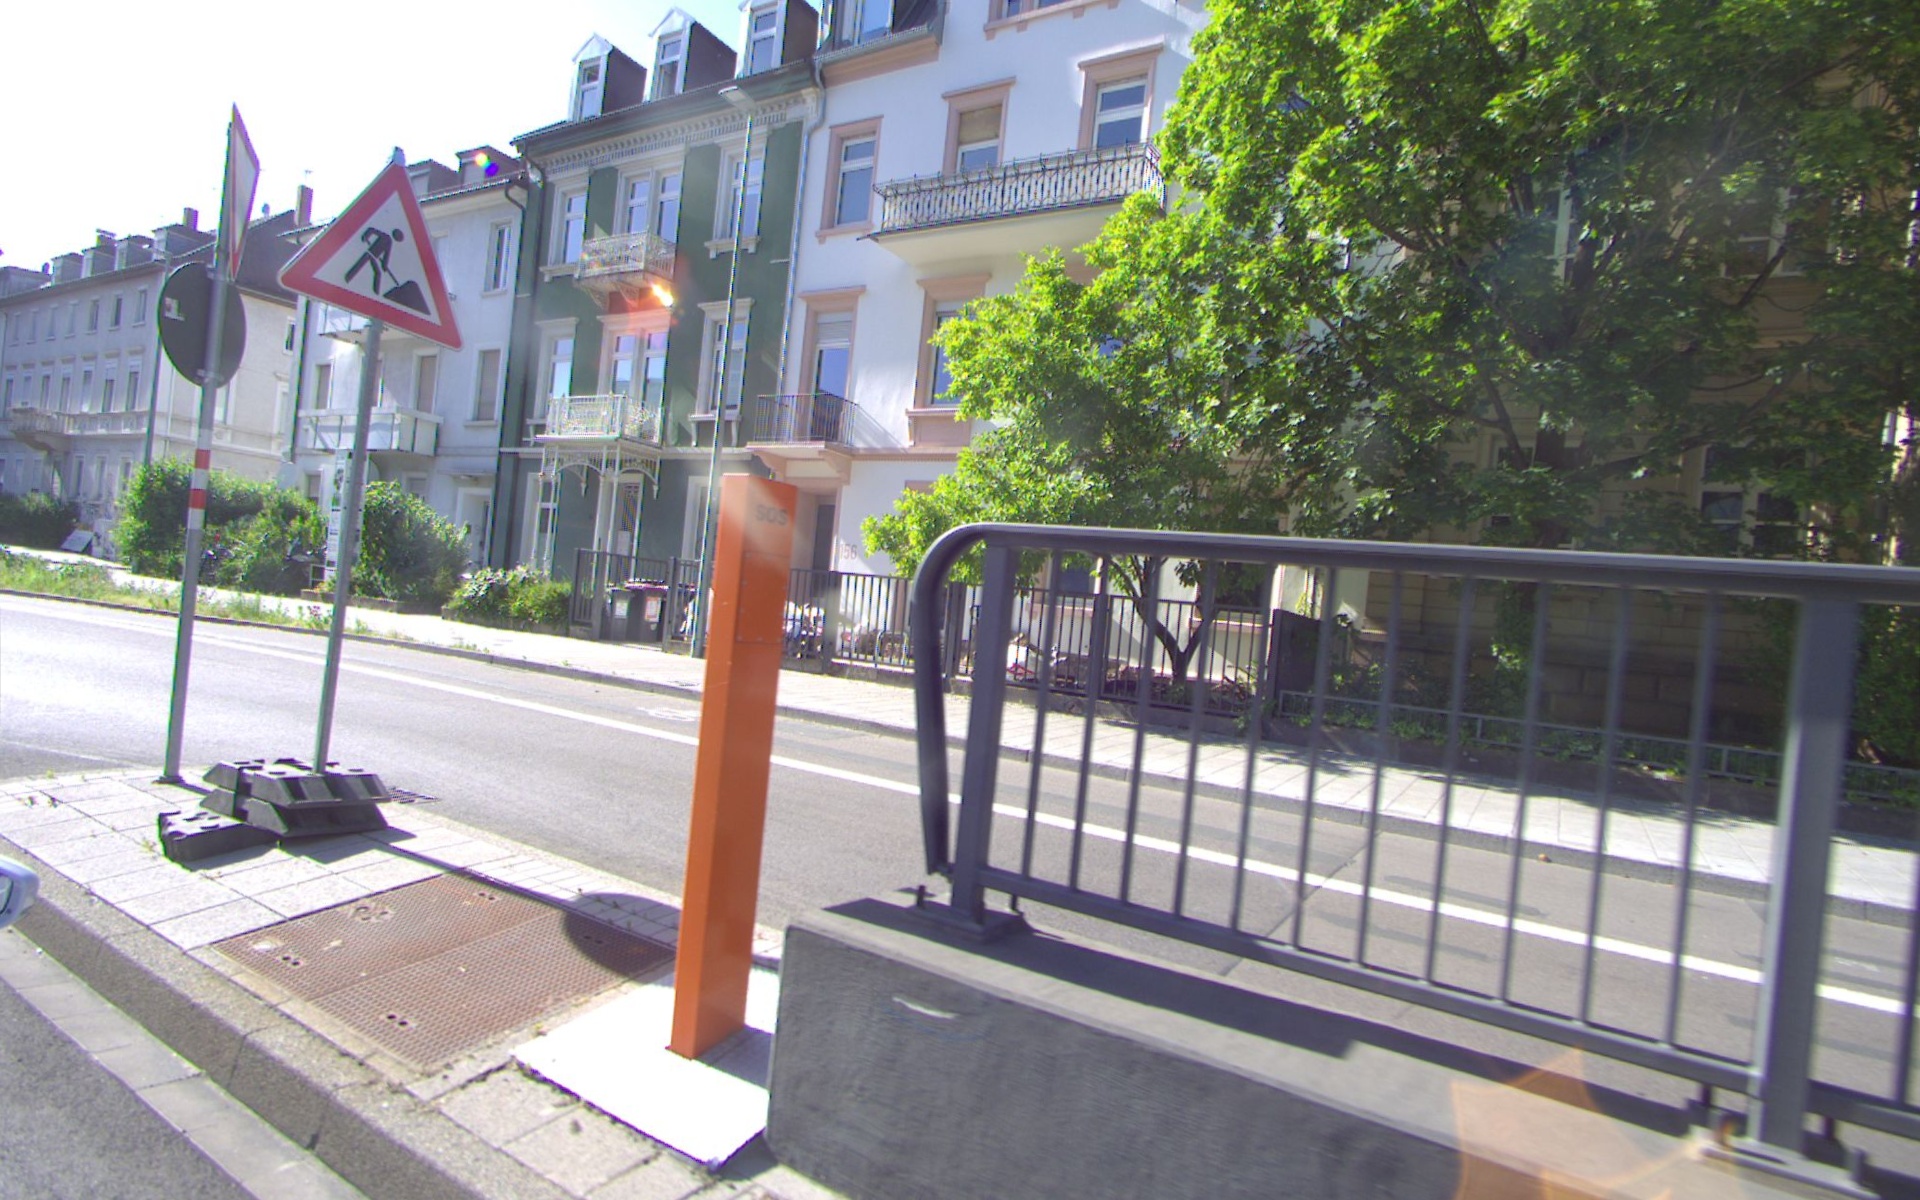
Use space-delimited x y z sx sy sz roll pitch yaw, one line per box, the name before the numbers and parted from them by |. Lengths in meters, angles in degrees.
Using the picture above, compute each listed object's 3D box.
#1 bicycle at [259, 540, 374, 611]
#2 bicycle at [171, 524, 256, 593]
bicycle | -15.936 -0.586 24.981 0.627 1.503 2.258 6 -1 30
bicycle | -18.726 -1.056 25.216 2.449 1.460 0.709 7 -1 31
